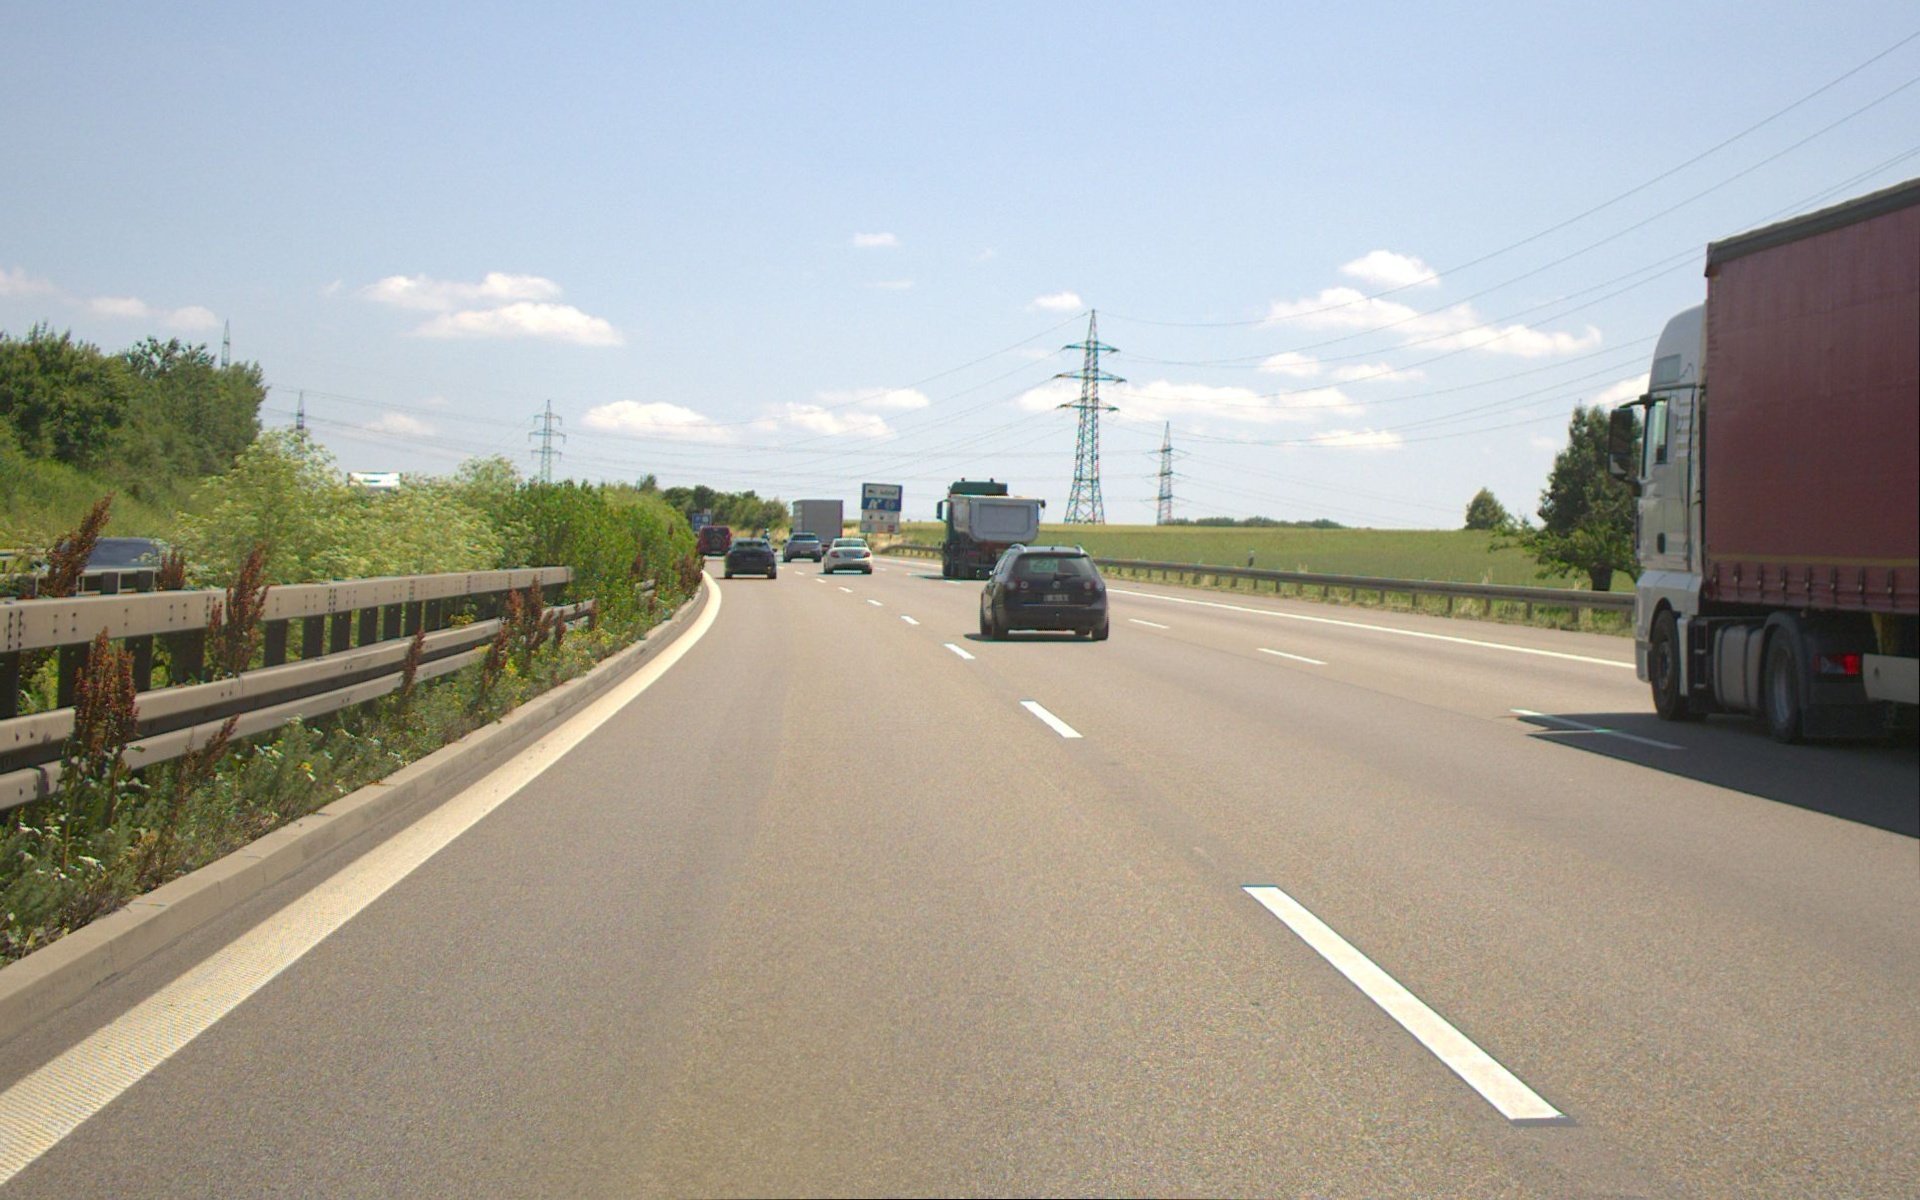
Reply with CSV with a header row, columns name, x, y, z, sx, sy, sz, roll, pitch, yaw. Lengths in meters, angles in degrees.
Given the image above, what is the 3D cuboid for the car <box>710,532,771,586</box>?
name,x,y,z,sx,sy,sz,roll,pitch,yaw
car,-7.772,-1.461,121.393,1.993,1.853,4.001,1,1,-6

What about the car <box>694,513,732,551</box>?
name,x,y,z,sx,sy,sz,roll,pitch,yaw
car,-12.996,-3.560,180.403,1.901,1.919,4.001,0,1,-5

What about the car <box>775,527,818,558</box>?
name,x,y,z,sx,sy,sz,roll,pitch,yaw
car,-8.353,-2.954,175.620,1.838,1.535,3.915,0,1,-8

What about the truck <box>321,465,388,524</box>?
name,x,y,z,sx,sy,sz,roll,pitch,yaw
truck,-28.600,-4.965,162.537,2.688,2.739,4.646,0,1,-4

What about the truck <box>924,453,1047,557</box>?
name,x,y,z,sx,sy,sz,roll,pitch,yaw
truck,0.858,-3.530,129.814,2.864,3.711,12.766,0,1,-8

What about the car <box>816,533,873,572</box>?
name,x,y,z,sx,sy,sz,roll,pitch,yaw
car,-4.614,-1.902,136.789,1.819,1.535,3.915,0,1,-8

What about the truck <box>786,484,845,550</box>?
name,x,y,z,sx,sy,sz,roll,pitch,yaw
truck,-9.140,-5.176,216.428,3.220,3.911,9.062,1,0,-5

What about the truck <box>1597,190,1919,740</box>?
name,x,y,z,sx,sy,sz,roll,pitch,yaw
truck,7.402,-1.068,29.090,2.561,4.139,6.249,1,1,-2

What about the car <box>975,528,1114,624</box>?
name,x,y,z,sx,sy,sz,roll,pitch,yaw
car,1.286,-0.400,53.995,1.756,1.424,4.001,0,1,-5

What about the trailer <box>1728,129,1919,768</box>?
name,x,y,z,sx,sy,sz,roll,pitch,yaw
trailer,7.739,-0.968,21.226,2.600,4.249,13.035,1,1,-2

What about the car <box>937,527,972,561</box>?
name,x,y,z,sx,sy,sz,roll,pitch,yaw
car,-0.342,-3.323,204.828,1.813,2.007,3.955,1,1,-3
